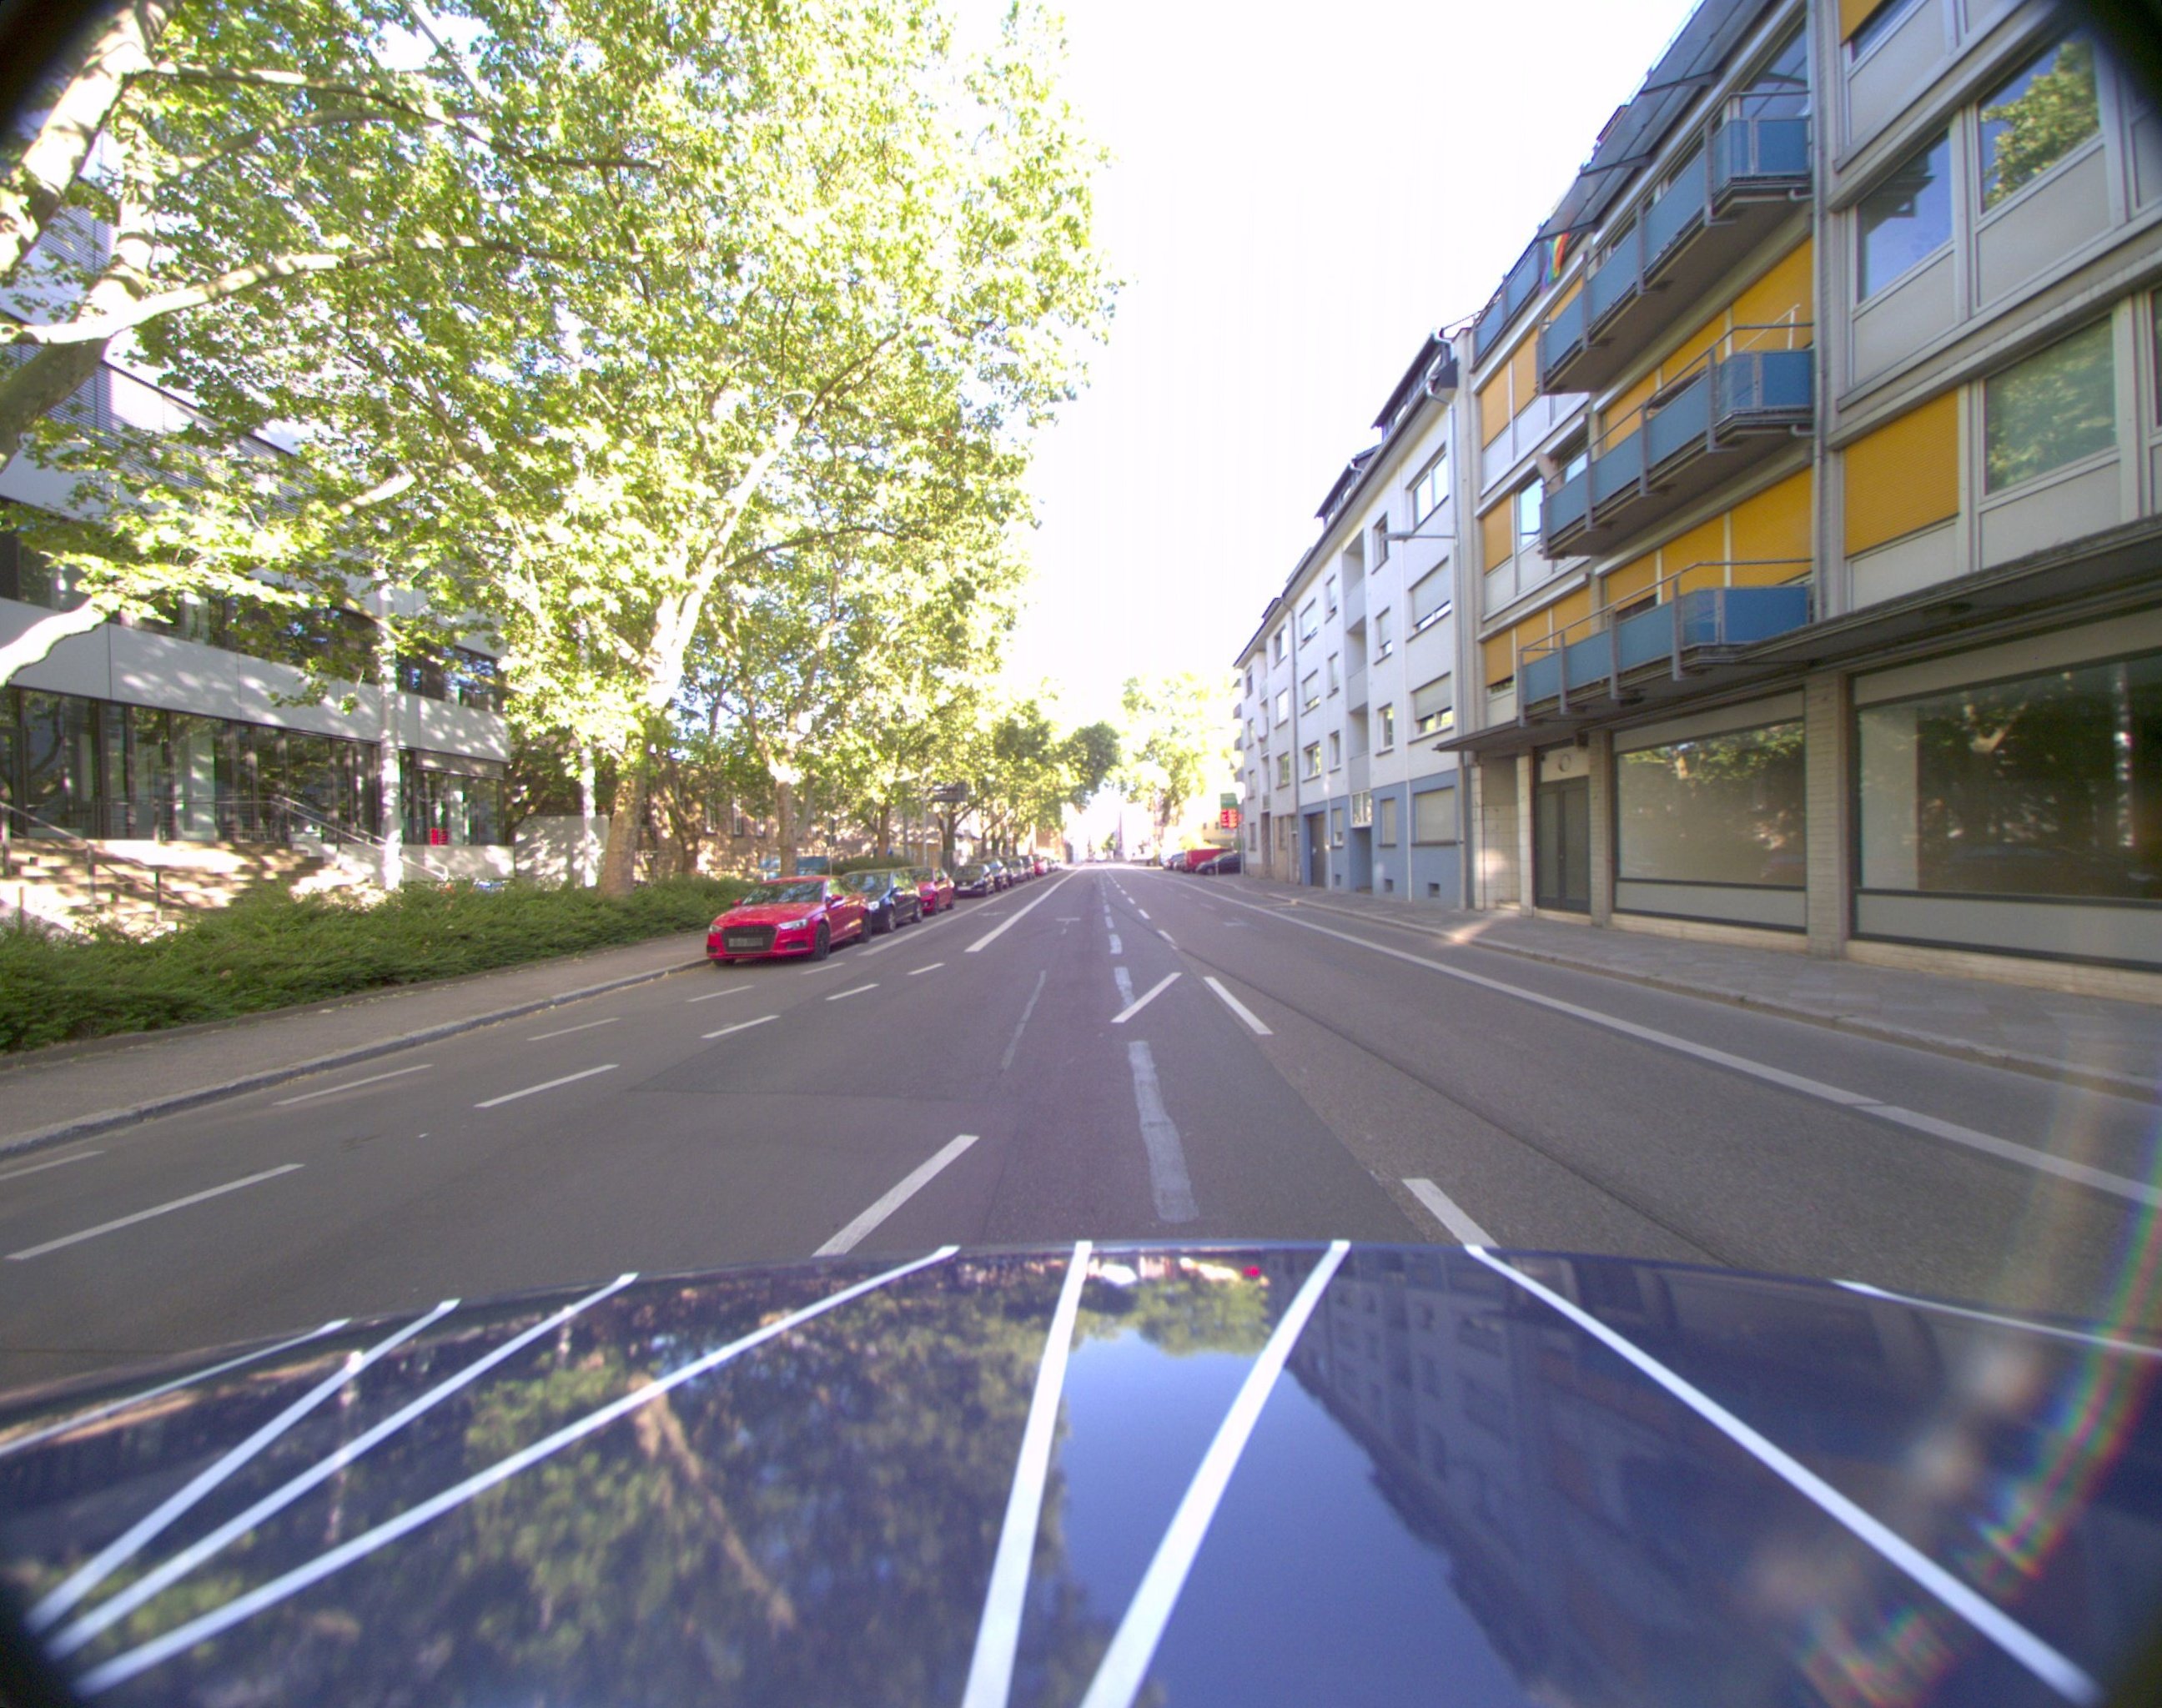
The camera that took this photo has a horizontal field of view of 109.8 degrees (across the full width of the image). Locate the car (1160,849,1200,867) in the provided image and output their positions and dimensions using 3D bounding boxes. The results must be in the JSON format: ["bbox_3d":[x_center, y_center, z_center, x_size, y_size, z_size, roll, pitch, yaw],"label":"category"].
[{"bbox_3d":[9.883,0.380,75.902,3.658,1.578,1.659,-2,1,-5],"label":"car"}]

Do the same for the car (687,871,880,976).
[{"bbox_3d":[-5.095,1.108,13.706,1.775,1.416,4.173,-3,0,0],"label":"car"}]

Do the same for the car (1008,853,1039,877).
[{"bbox_3d":[-4.166,0.754,55.503,1.831,1.608,4.177,-1,0,1],"label":"car"}]

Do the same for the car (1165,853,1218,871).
[{"bbox_3d":[9.111,0.641,62.800,4.033,1.265,1.906,-2,1,-1],"label":"car"}]

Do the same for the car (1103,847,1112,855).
[{"bbox_3d":[6.773,-0.794,193.454,1.998,2.002,3.999,-2,1,1],"label":"car"}]

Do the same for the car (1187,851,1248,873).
[{"bbox_3d":[9.819,0.542,54.821,3.997,1.385,1.781,-2,1,-1],"label":"car"}]

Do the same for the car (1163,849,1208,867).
[{"bbox_3d":[10.084,0.362,73.354,3.998,1.618,1.702,-2,1,-5],"label":"car"}]

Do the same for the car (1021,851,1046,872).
[{"bbox_3d":[-4.104,0.619,66.172,1.876,1.685,4.166,-1,0,1],"label":"car"}]

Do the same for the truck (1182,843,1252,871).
[{"bbox_3d":[10.730,0.236,60.088,5.088,2.009,2.000,-2,1,0],"label":"truck"}]

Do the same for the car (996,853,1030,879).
[{"bbox_3d":[-4.438,0.743,50.446,1.798,1.608,4.075,-1,0,1],"label":"car"}]

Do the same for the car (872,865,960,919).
[{"bbox_3d":[-5.030,1.121,23.664,1.790,1.429,4.000,-1,0,1],"label":"car"}]

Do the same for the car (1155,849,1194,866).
[{"bbox_3d":[9.619,0.377,78.561,3.703,1.573,1.718,-2,1,-5],"label":"car"}]

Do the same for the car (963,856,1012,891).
[{"bbox_3d":[-4.621,0.924,38.202,1.848,1.572,4.232,-2,0,1],"label":"car"}]

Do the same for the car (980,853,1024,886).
[{"bbox_3d":[-4.543,0.871,44.185,1.998,1.715,4.262,-2,1,1],"label":"car"}]

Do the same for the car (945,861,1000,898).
[{"bbox_3d":[-4.675,1.086,33.256,1.745,1.430,4.000,-1,0,1],"label":"car"}]

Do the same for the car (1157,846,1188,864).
[{"bbox_3d":[10.233,0.107,85.215,3.267,1.927,1.693,-2,1,2],"label":"car"}]

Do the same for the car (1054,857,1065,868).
[{"bbox_3d":[-2.624,1.032,92.380,1.300,1.220,3.241,-1,0,0],"label":"car"}]

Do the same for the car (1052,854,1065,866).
[{"bbox_3d":[-3.021,0.821,102.943,1.707,1.459,3.809,-1,0,0],"label":"car"}]

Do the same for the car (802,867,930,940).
[{"bbox_3d":[-5.039,1.115,18.384,1.813,1.449,4.000,-1,0,2],"label":"car"}]

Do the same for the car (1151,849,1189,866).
[{"bbox_3d":[9.489,0.373,80.852,3.728,1.579,1.743,-2,1,-5],"label":"car"}]
